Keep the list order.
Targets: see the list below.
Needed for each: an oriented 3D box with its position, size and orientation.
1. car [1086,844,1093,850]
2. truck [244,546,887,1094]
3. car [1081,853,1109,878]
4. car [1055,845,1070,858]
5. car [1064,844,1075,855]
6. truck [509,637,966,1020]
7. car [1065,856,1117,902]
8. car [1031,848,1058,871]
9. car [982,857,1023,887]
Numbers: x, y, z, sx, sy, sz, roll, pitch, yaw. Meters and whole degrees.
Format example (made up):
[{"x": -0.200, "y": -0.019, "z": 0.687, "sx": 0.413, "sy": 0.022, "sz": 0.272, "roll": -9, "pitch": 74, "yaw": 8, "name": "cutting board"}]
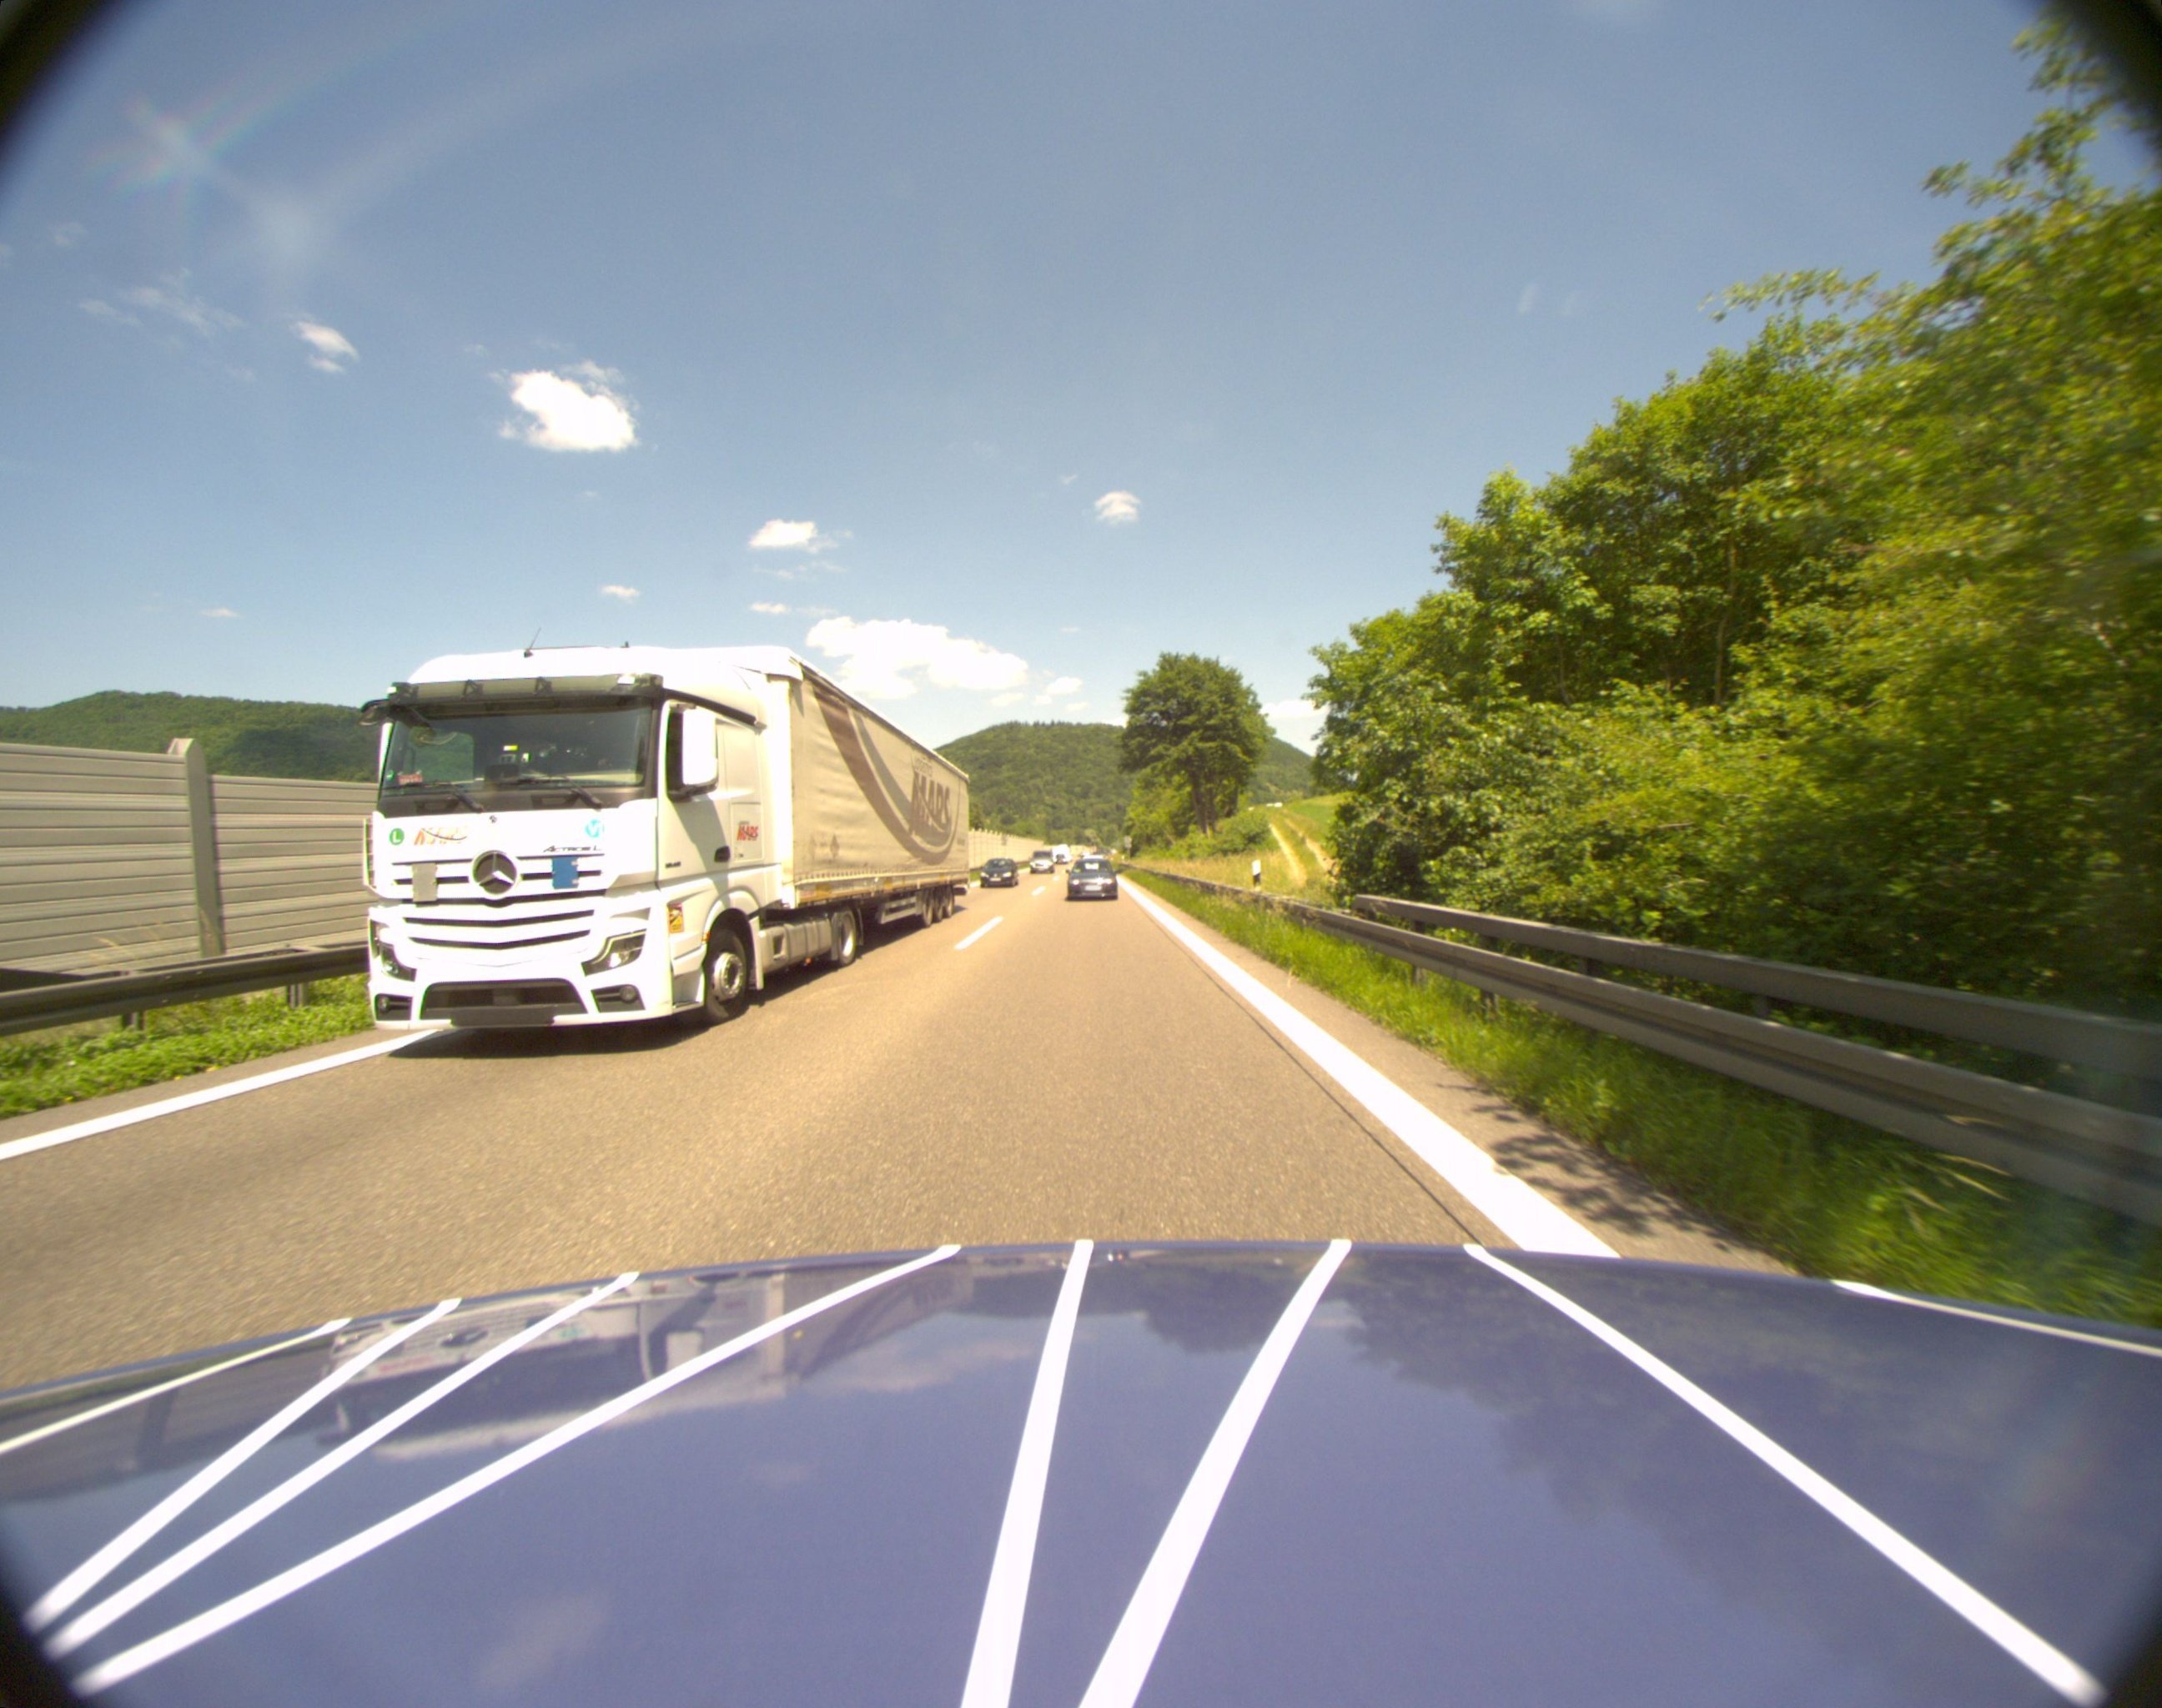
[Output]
[{"x": 2.670, "y": -2.145, "z": 227.881, "sx": 1.998, "sy": 1.722, "sz": 3.999, "roll": 3, "pitch": 1, "yaw": 1, "name": "car"}, {"x": -4.733, "y": -0.292, "z": 9.127, "sx": 2.764, "sy": 4.016, "sz": 6.822, "roll": -2, "pitch": 1, "yaw": 1, "name": "truck"}, {"x": 0.893, "y": 0.735, "z": 49.919, "sx": 1.715, "sy": 1.541, "sz": 4.000, "roll": 0, "pitch": 0, "yaw": 0, "name": "car"}, {"x": -2.893, "y": -0.356, "z": 118.732, "sx": 1.998, "sy": 1.892, "sz": 4.001, "roll": 1, "pitch": 0, "yaw": 2, "name": "car"}, {"x": -2.143, "y": -0.770, "z": 142.045, "sx": 1.998, "sy": 2.002, "sz": 4.000, "roll": -2, "pitch": 0, "yaw": 1, "name": "car"}, {"x": -4.643, "y": -0.337, "z": 14.282, "sx": 2.861, "sy": 4.124, "sz": 12.046, "roll": -1, "pitch": 1, "yaw": 1, "name": "truck"}, {"x": 0.353, "y": 0.803, "z": 26.255, "sx": 1.662, "sy": 1.436, "sz": 3.475, "roll": 0, "pitch": 1, "yaw": 1, "name": "car"}, {"x": -3.018, "y": 0.463, "z": 63.488, "sx": 2.043, "sy": 1.854, "sz": 4.000, "roll": -1, "pitch": -1, "yaw": -1, "name": "car"}, {"x": -3.918, "y": 0.886, "z": 38.493, "sx": 1.662, "sy": 1.405, "sz": 3.475, "roll": 0, "pitch": 1, "yaw": 1, "name": "car"}]
